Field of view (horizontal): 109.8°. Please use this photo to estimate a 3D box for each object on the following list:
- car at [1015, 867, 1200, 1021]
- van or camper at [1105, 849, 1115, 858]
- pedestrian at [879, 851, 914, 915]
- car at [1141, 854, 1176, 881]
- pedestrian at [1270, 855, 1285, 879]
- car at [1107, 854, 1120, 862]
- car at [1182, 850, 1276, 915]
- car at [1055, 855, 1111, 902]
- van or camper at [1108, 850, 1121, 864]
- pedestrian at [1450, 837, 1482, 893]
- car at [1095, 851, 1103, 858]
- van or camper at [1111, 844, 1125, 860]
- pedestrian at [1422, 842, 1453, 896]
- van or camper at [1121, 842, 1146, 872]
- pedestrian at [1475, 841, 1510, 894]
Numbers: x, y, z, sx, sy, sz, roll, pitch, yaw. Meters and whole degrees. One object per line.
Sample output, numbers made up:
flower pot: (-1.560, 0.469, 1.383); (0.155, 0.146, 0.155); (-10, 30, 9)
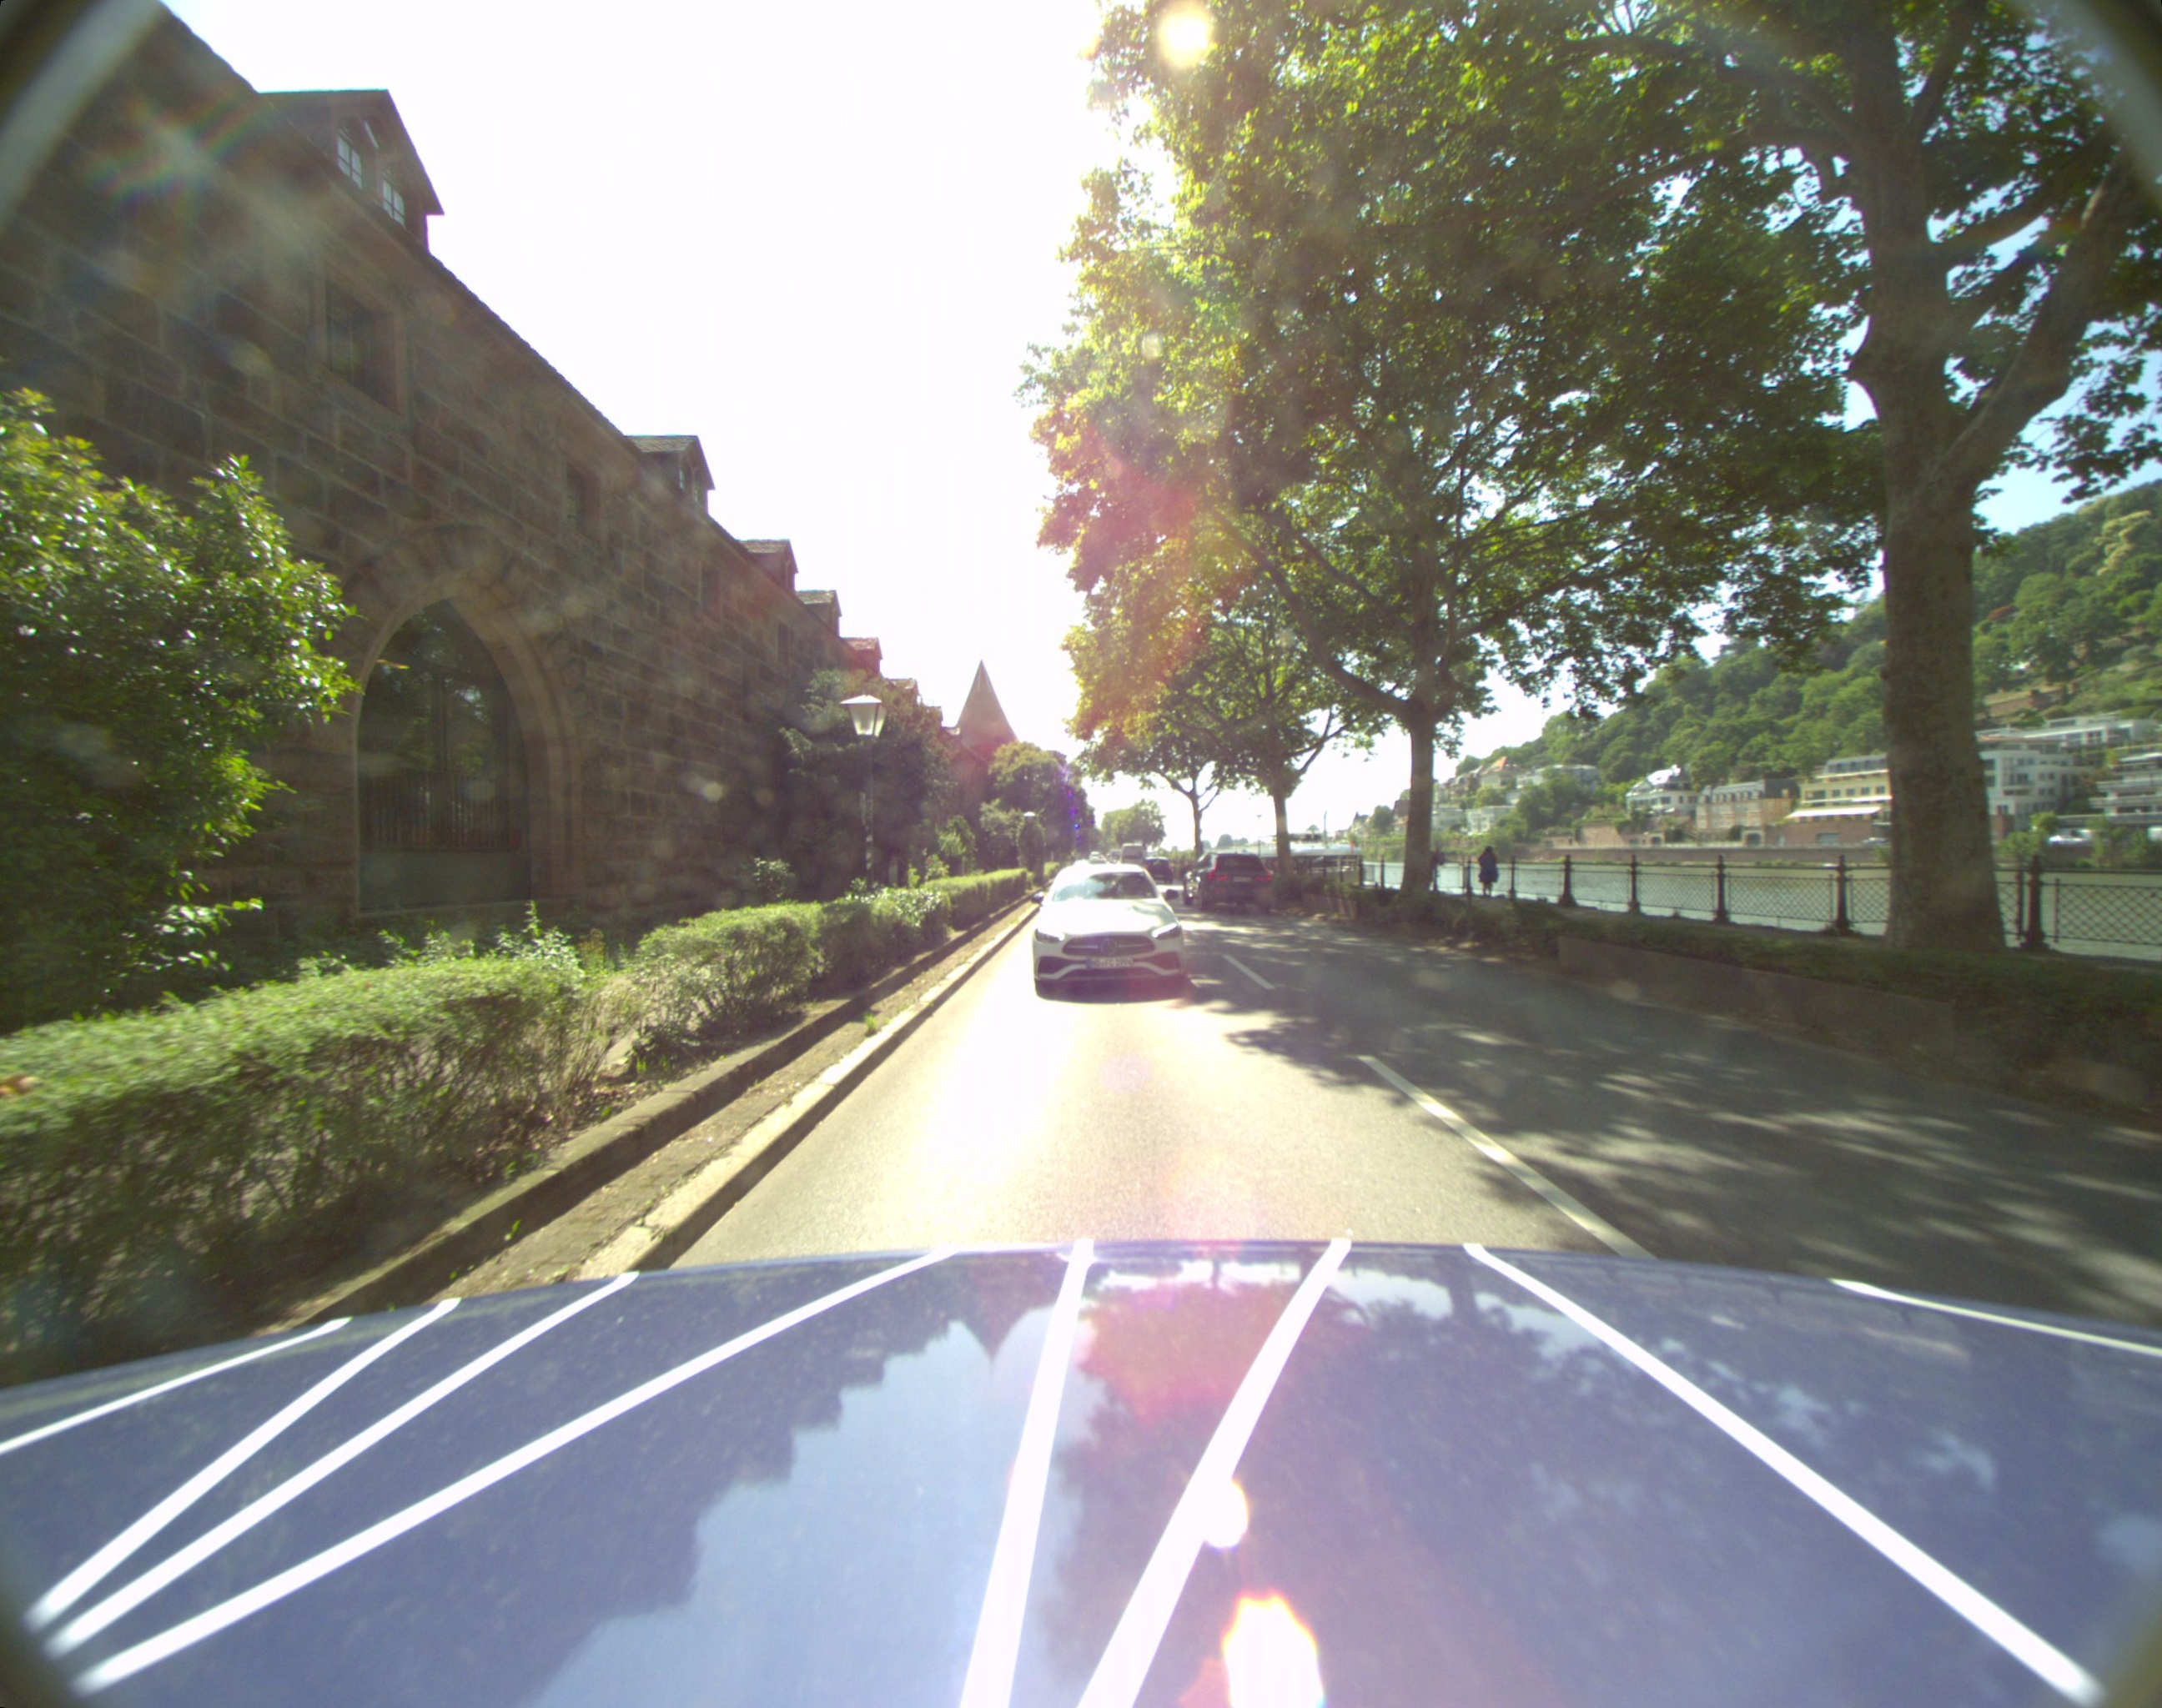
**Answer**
car: (0.308, 0.960, 9.921); (1.829, 1.418, 4.358); (-2, 0, 1)
van or camper: (6.338, -0.053, 167.671); (1.923, 1.975, 3.999); (0, 0, 0)
pedestrian: (-4.832, 0.754, 19.920); (0.700, 1.643, 0.705); (0, 1, 3)
car: (4.363, 0.729, 43.097); (1.653, 1.460, 3.779); (0, 0, 1)
pedestrian: (11.039, 0.723, 42.674); (0.704, 1.300, 0.656); (0, 1, 2)
car: (4.998, 0.552, 116.768); (1.703, 1.204, 3.484); (0, 0, -4)
car: (4.156, 0.742, 21.993); (1.881, 1.688, 4.258); (0, 0, 0)
car: (0.123, 0.813, 27.233); (1.854, 1.543, 3.848); (0, 0, 1)
van or camper: (6.693, 0.564, 150.444); (2.328, 2.647, 6.264); (1, 1, 1)
pedestrian: (12.726, 0.355, 25.153); (0.705, 1.787, 0.705); (-1, 1, 3)
car: (4.668, 0.115, 201.077); (1.923, 1.975, 3.999); (0, 0, 0)
van or camper: (6.507, -0.359, 134.683); (2.328, 2.647, 6.264); (1, 1, 1)
pedestrian: (11.720, 0.477, 25.007); (0.705, 1.721, 0.705); (-1, 1, 3)
van or camper: (4.631, 0.207, 67.678); (1.965, 2.552, 5.840); (1, 1, 1)
pedestrian: (12.689, 0.414, 23.457); (0.705, 1.594, 0.705); (-1, 1, 3)
